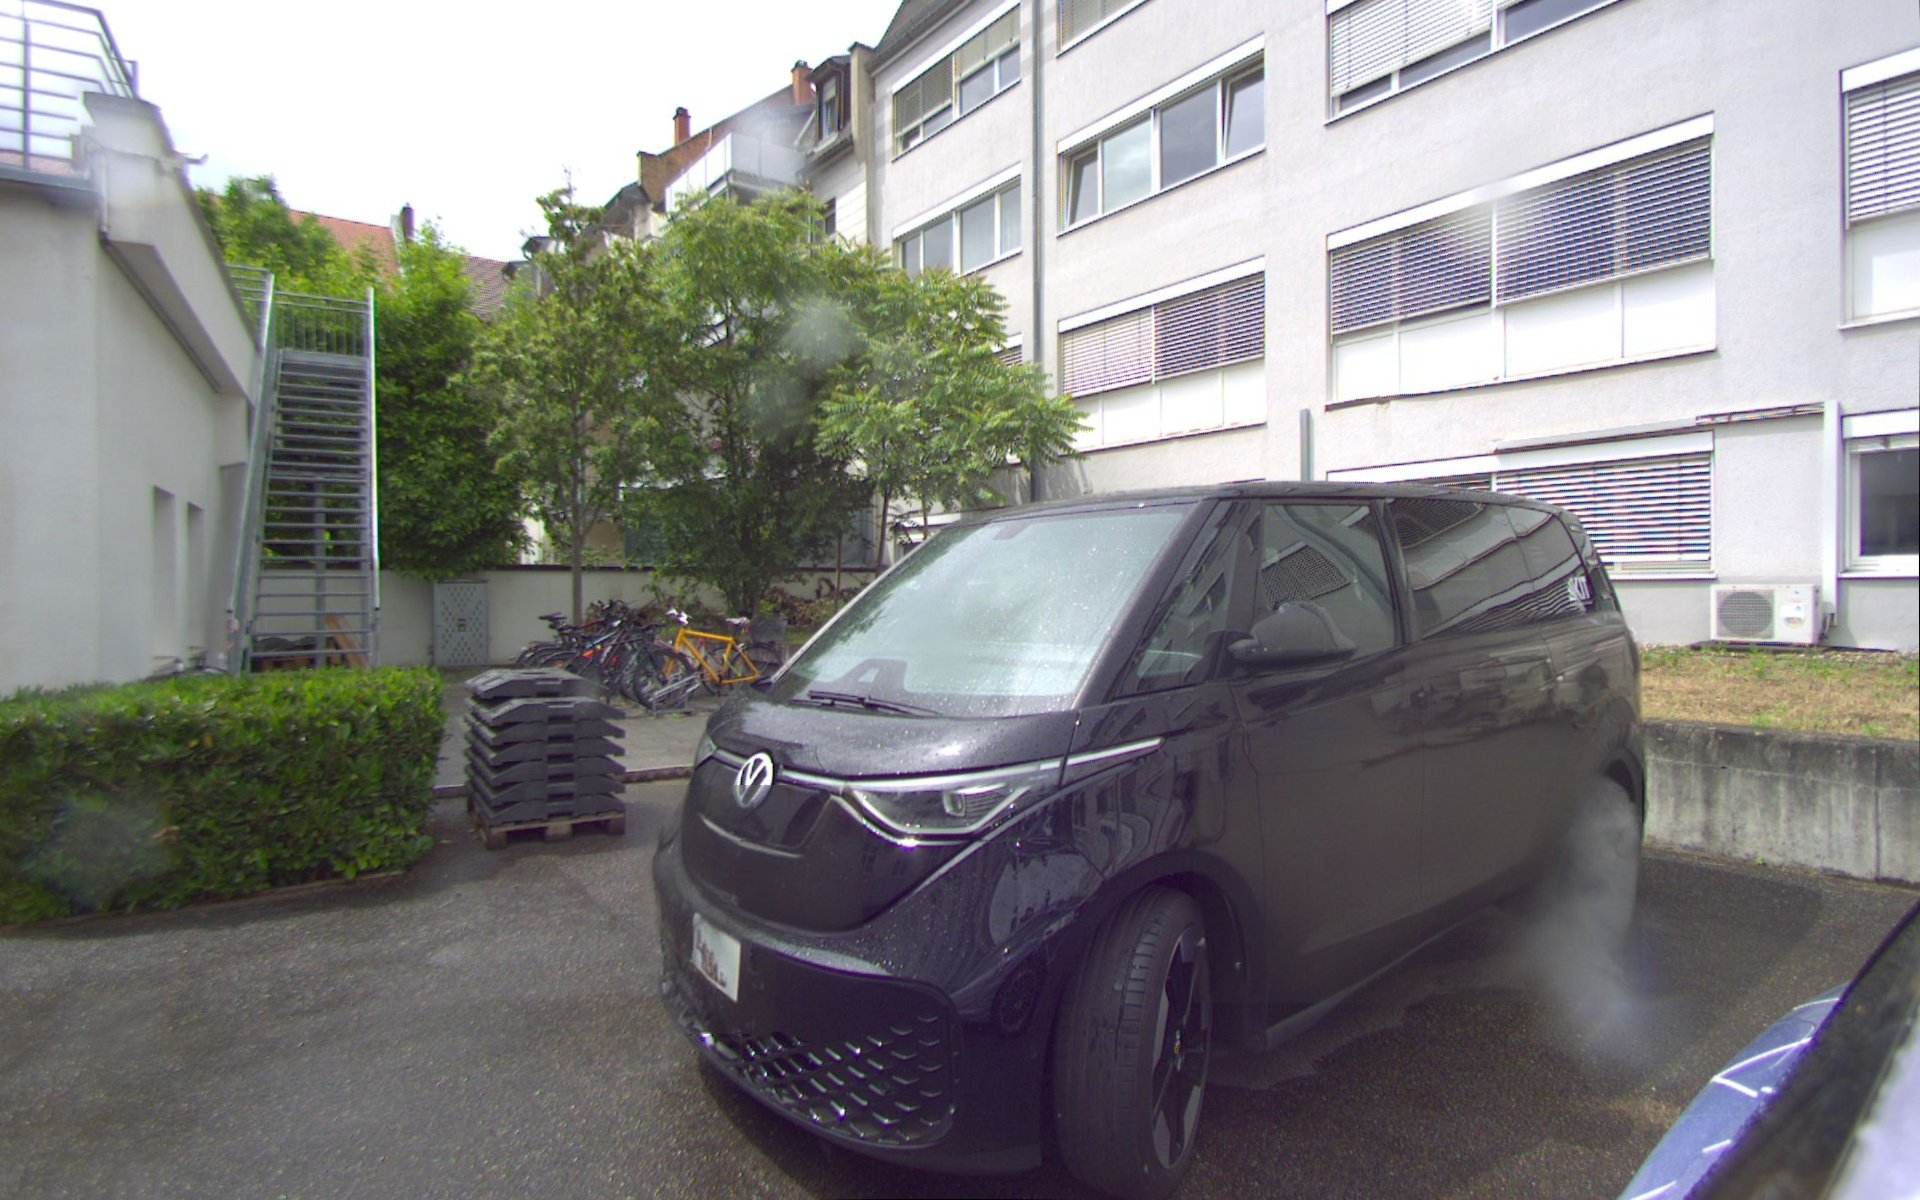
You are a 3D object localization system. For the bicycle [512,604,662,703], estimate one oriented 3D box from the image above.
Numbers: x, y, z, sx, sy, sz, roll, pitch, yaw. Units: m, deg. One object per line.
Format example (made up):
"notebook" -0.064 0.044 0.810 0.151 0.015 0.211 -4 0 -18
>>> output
"bicycle" -4.559 0.628 12.452 1.723 1.118 0.332 -1 1 -38

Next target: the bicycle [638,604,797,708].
"bicycle" -2.792 0.617 11.730 1.760 1.118 0.367 -1 1 -30

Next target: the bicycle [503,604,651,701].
"bicycle" -4.786 0.629 12.731 1.723 1.118 0.342 -1 1 -38

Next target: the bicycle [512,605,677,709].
"bicycle" -4.198 0.628 11.701 1.760 1.118 0.355 -1 1 -30

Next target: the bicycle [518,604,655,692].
"bicycle" -5.054 0.624 13.774 1.723 1.118 0.355 -1 1 -38

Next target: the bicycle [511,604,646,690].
"bicycle" -5.272 0.625 14.053 1.723 1.118 0.342 -1 1 -38

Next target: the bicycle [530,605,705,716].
"bicycle" -3.717 0.627 11.049 1.760 1.118 0.406 -1 1 -30

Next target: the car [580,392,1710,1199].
"car" 1.141 0.472 4.156 4.663 1.888 1.969 -2 1 -38

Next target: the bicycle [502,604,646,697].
"bicycle" -4.997 0.627 13.168 1.723 1.118 0.345 -1 1 -38

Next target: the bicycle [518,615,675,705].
"bicycle" -4.344 0.696 12.185 1.763 0.979 0.330 -1 1 -38
